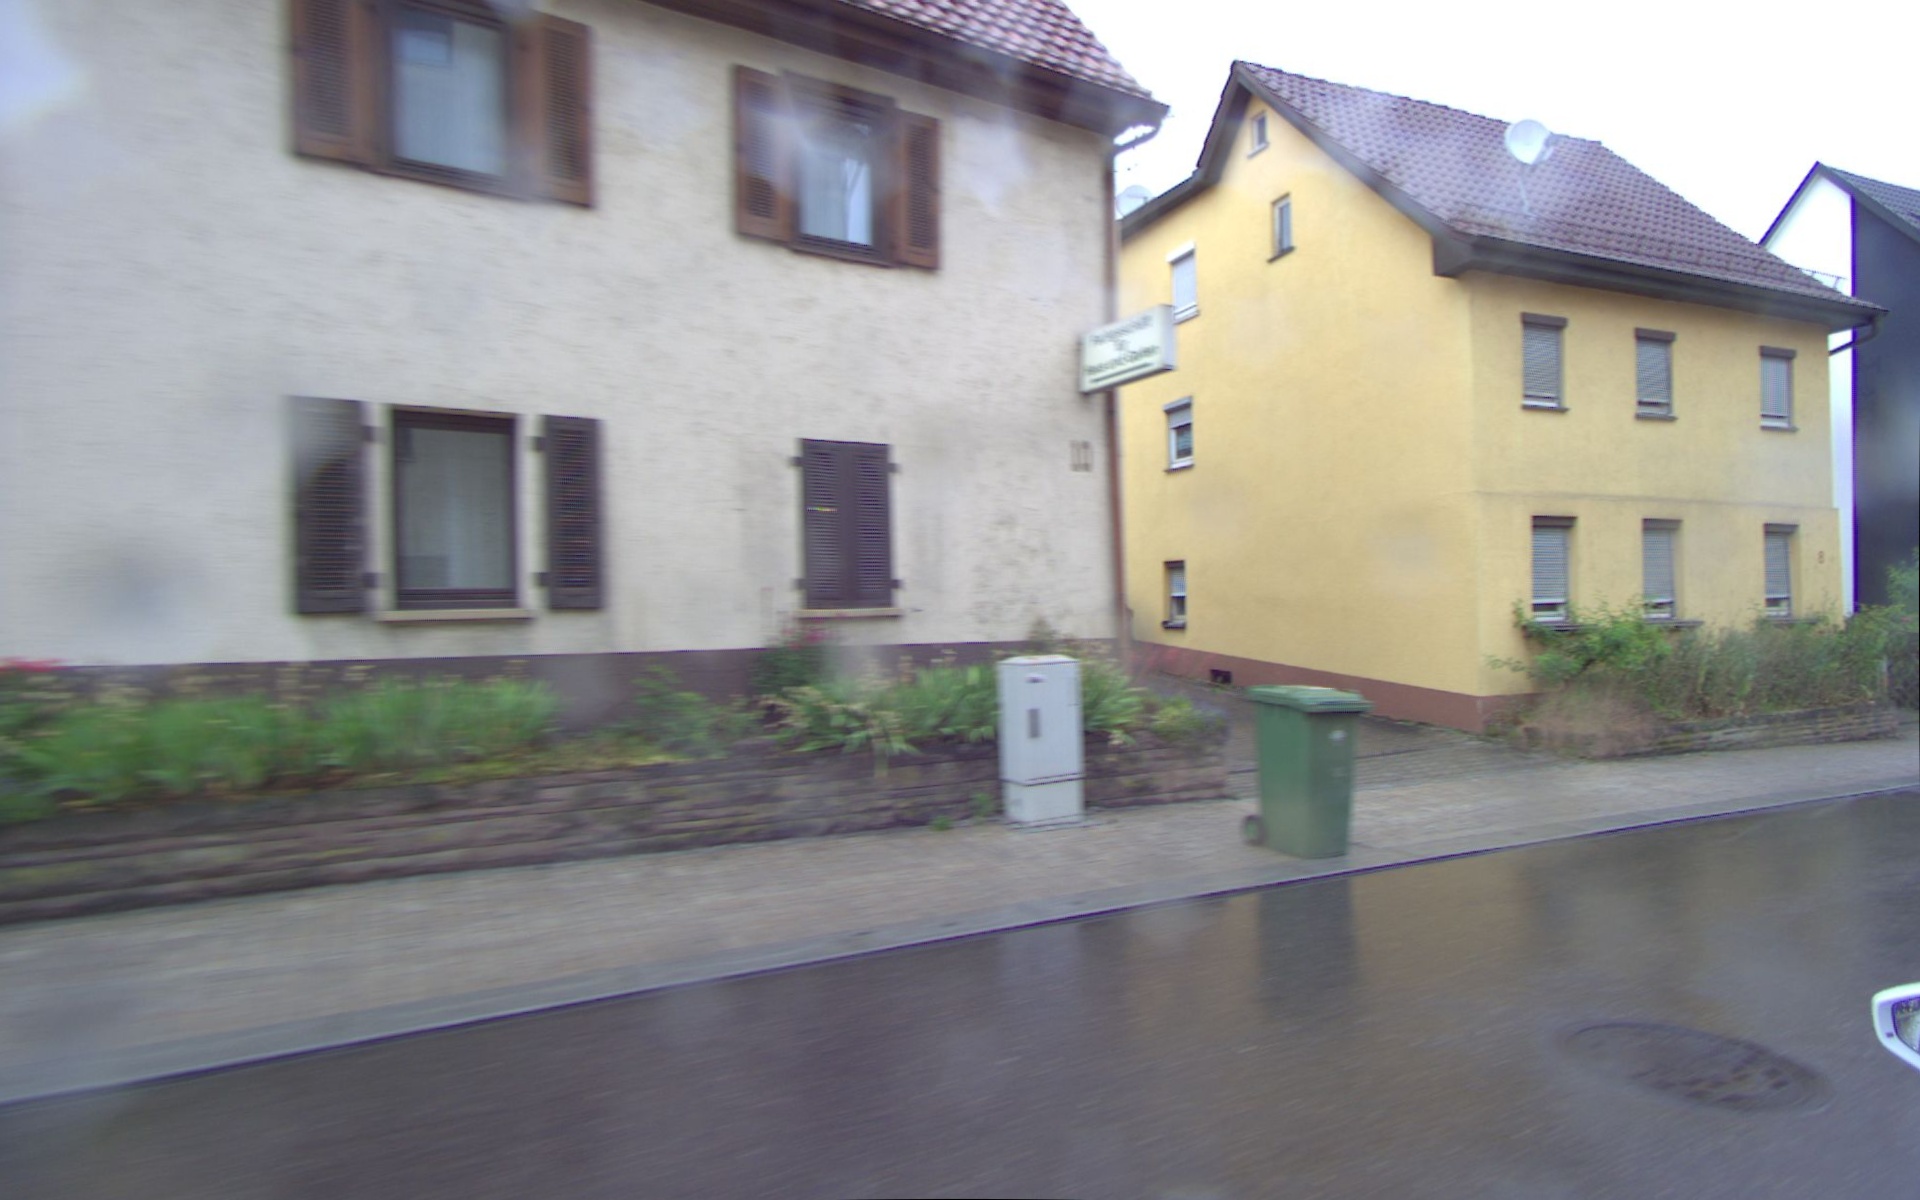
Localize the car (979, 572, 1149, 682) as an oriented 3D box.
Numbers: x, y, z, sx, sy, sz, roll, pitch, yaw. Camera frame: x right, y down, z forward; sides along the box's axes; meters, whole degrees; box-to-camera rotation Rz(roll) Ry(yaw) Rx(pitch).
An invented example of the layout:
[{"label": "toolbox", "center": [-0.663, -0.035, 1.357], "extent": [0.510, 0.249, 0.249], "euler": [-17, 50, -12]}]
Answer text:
[{"label": "car", "center": [1.849, 0.396, 19.231], "extent": [1.761, 1.656, 3.982], "euler": [-2, 5, -18]}]

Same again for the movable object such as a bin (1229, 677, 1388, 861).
[{"label": "movable object such as a bin", "center": [2.326, 1.090, 6.732], "extent": [0.754, 1.070, 0.656], "euler": [1, 1, -30]}]
